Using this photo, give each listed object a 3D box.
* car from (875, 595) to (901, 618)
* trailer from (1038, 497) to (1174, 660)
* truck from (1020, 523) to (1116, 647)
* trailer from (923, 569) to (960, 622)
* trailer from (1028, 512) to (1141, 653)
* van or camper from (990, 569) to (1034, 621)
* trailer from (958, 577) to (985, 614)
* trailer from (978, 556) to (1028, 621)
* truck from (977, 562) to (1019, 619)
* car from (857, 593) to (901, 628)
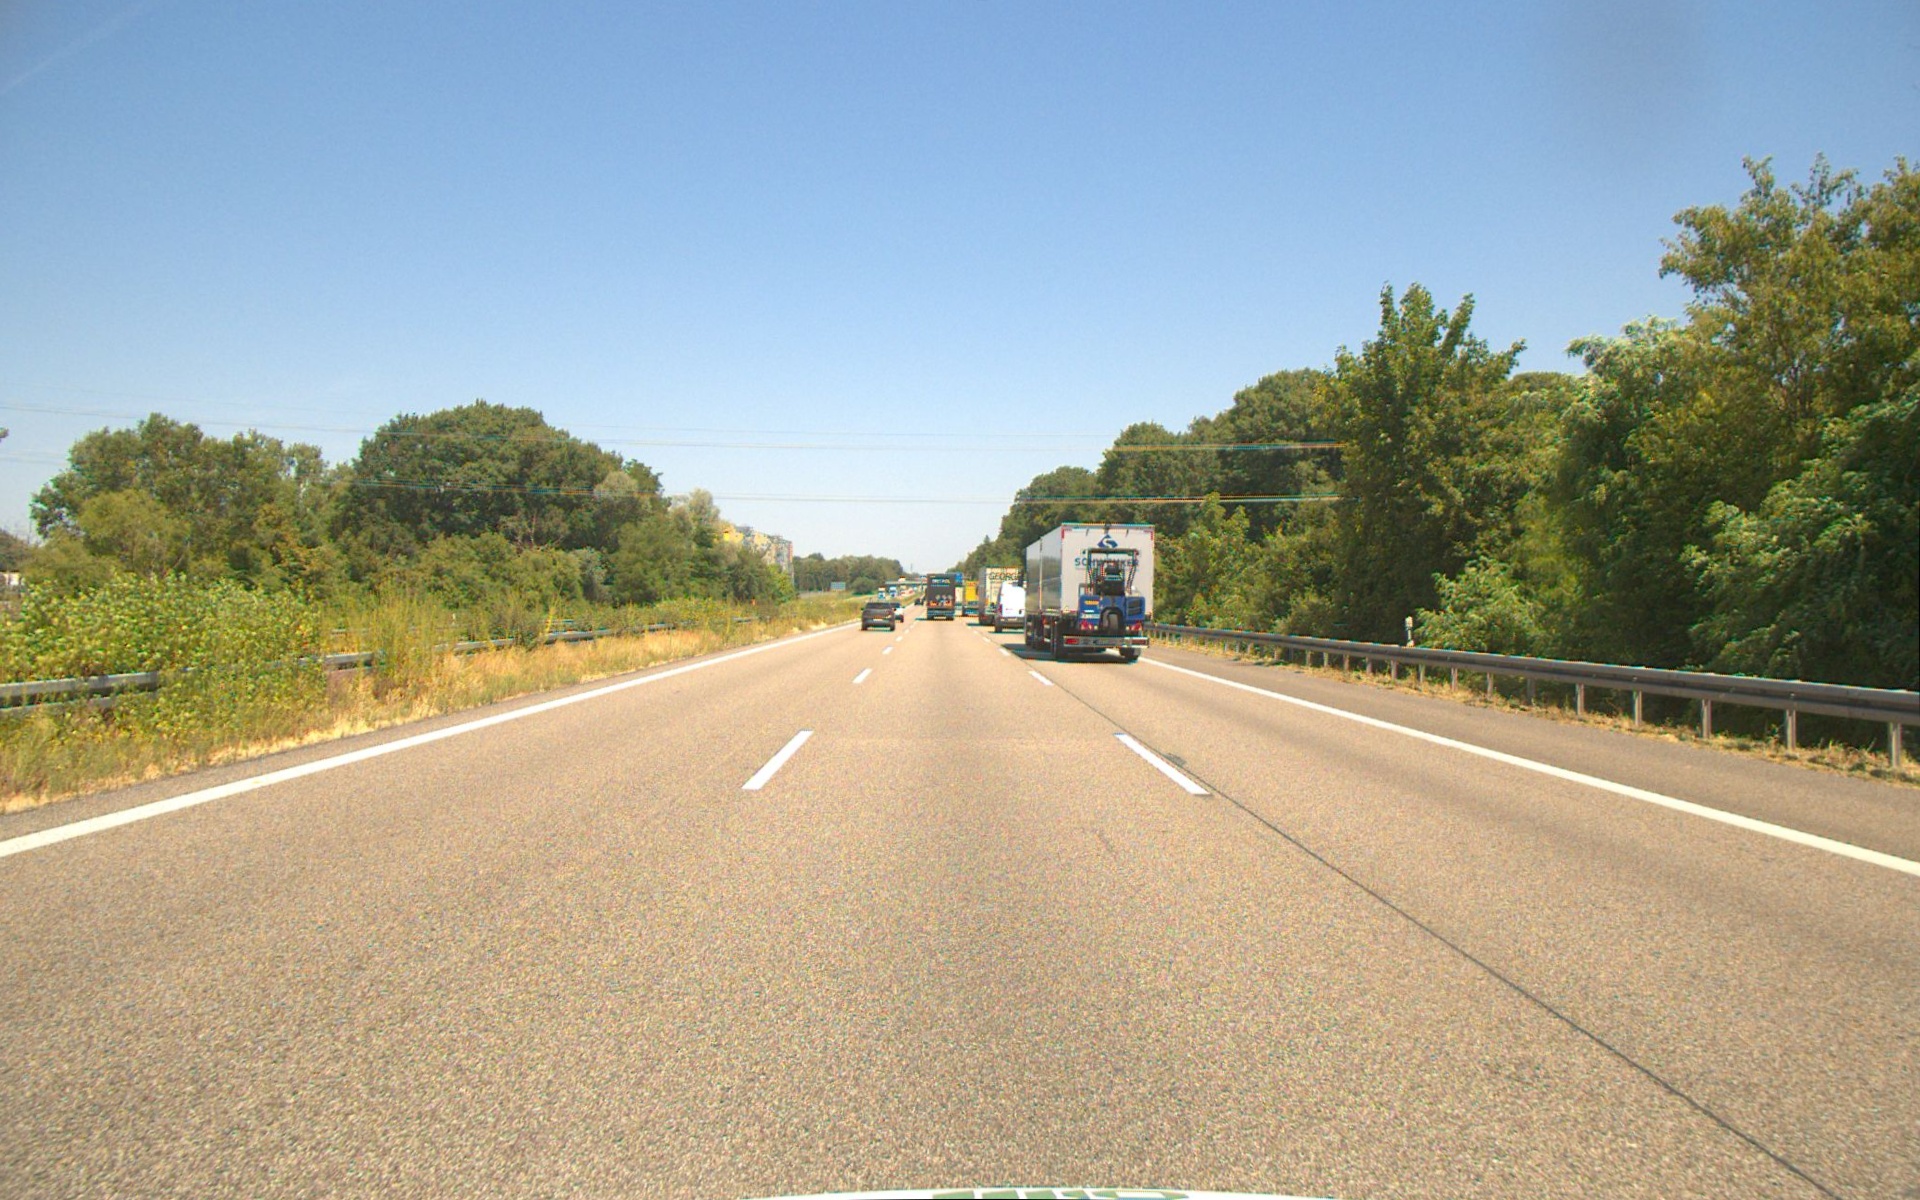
[{"bbox_3d":[-5.522,0.496,127.736,1.953,1.758,4.129,0,0,-2],"label":"car"},{"bbox_3d":[3.930,-0.540,46.403,2.885,4.134,8.126,1,0,-1],"label":"trailer"},{"bbox_3d":[3.747,-0.507,58.795,2.830,4.100,6.868,1,0,-1],"label":"truck"},{"bbox_3d":[-1.777,-0.391,150.427,3.043,4.585,14.891,1,0,-1],"label":"trailer"},{"bbox_3d":[3.837,-0.513,52.552,2.861,4.112,7.315,1,0,-1],"label":"trailer"},{"bbox_3d":[2.727,-0.267,88.471,1.981,2.683,6.485,1,0,-1],"label":"van or camper"},{"bbox_3d":[1.228,-0.502,186.844,2.777,4.023,11.681,0,0,-1],"label":"trailer"},{"bbox_3d":[2.982,-0.780,118.302,2.933,4.364,13.415,1,0,-1],"label":"trailer"},{"bbox_3d":[2.857,-0.712,126.169,2.941,4.197,5.251,1,0,-1],"label":"truck"},{"bbox_3d":[-4.354,0.559,89.411,2.171,1.821,5.392,0,0,-1],"label":"car"}]
